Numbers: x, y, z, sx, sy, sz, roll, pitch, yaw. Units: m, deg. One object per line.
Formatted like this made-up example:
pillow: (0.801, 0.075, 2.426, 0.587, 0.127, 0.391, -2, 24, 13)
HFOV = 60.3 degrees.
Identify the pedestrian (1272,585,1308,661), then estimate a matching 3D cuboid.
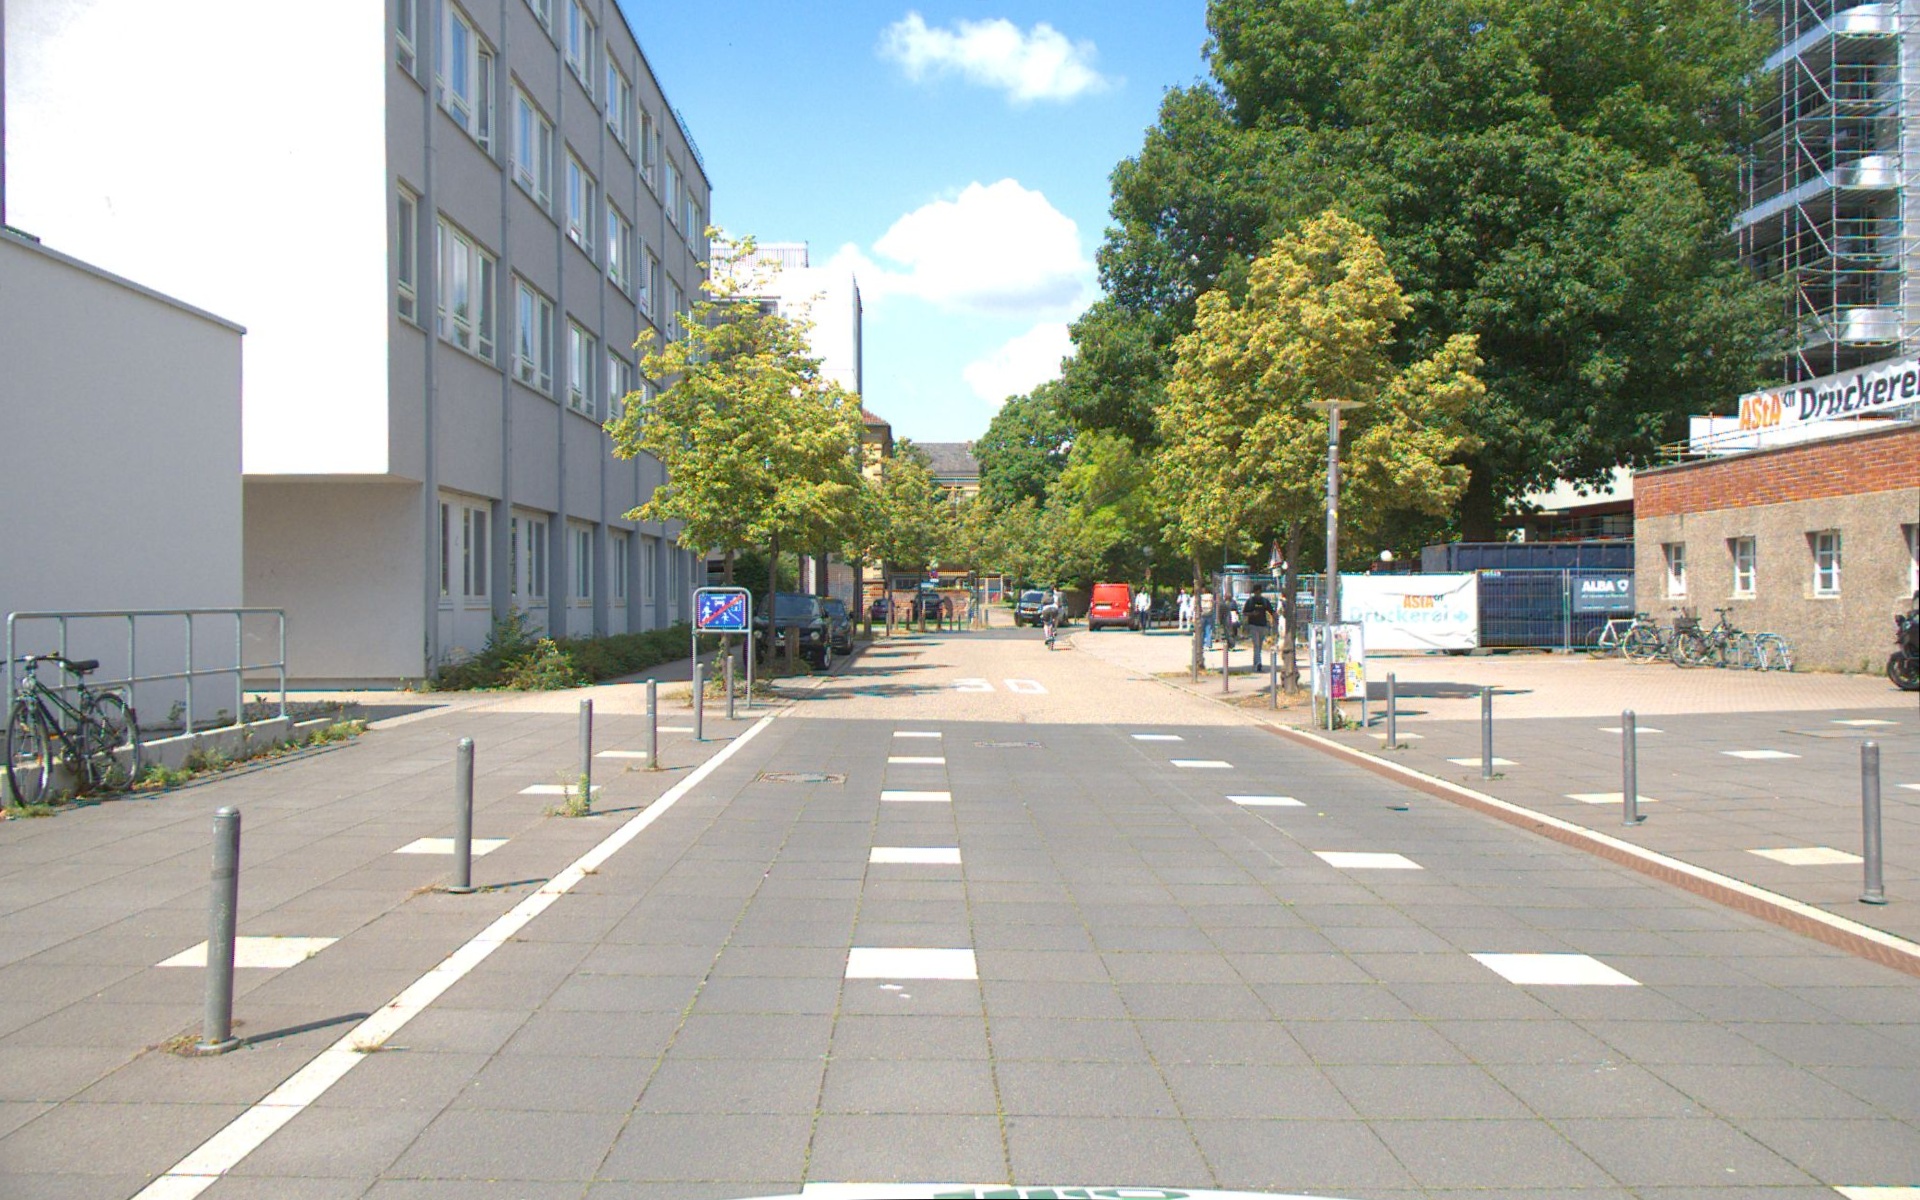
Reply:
pedestrian: (7.511, 0.523, 37.659, 0.636, 1.695, 0.904, -1, 0, 0)

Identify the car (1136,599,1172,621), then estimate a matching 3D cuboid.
car: (13.756, 0.694, 116.998, 1.723, 1.548, 4.113, 0, 0, 19)

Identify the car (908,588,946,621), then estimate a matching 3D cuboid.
car: (-2.037, 0.288, 100.017, 2.131, 1.959, 5.182, 0, 0, -3)

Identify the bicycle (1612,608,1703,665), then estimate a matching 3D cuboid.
bicycle: (14.217, 0.737, 33.739, 1.667, 1.129, 0.448, 0, 0, -1)

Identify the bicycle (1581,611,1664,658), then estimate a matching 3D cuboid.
bicycle: (14.450, 0.748, 36.100, 1.637, 1.021, 0.448, 0, 0, -1)

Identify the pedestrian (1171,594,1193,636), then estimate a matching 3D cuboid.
pedestrian: (9.760, 0.656, 72.616, 0.716, 1.853, 0.621, 0, -1, -37)

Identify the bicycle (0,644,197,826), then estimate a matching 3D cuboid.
bicycle: (-5.972, 0.871, 11.305, 0.532, 1.080, 1.900, 0, 0, 3)

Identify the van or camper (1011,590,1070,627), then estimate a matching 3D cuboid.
van or camper: (4.516, 0.452, 91.863, 1.913, 1.957, 5.422, 1, 0, 18)

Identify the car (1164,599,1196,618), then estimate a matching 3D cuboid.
car: (16.508, 0.616, 124.126, 1.582, 1.412, 4.001, 0, 0, 19)

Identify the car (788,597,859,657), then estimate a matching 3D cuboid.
car: (-3.599, 0.685, 44.109, 1.742, 1.486, 4.256, 1, 0, -3)

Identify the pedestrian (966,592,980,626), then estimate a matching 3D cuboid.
pedestrian: (0.708, 0.486, 87.510, 0.571, 1.795, 0.912, 0, 0, 11)

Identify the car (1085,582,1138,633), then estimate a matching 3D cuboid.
car: (6.013, 0.275, 65.270, 1.809, 1.924, 4.894, -1, 0, 8)

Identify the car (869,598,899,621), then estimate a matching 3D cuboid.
car: (-4.564, 0.581, 99.908, 1.781, 1.347, 3.766, 0, 0, -2)

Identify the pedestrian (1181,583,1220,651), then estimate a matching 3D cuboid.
pedestrian: (6.442, 0.463, 44.371, 0.834, 1.795, 0.714, -1, 0, -9)

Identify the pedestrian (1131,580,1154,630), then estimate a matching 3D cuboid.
pedestrian: (6.630, 0.186, 60.125, 0.680, 1.812, 0.787, -1, 0, 15)

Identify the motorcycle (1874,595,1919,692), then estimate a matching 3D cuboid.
motorcycle: (13.625, 0.597, 22.943, 0.681, 1.346, 2.220, 0, 0, 1)

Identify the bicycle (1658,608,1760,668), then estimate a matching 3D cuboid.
bicycle: (14.341, 0.732, 31.684, 1.769, 1.129, 0.448, 0, 0, -1)

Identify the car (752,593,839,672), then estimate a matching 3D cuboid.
car: (-3.481, 0.648, 35.528, 1.663, 1.591, 4.065, 0, 0, -3)

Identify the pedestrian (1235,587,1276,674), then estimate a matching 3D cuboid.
pedestrian: (5.973, 0.608, 33.449, 0.629, 1.726, 0.791, 0, 0, -7)

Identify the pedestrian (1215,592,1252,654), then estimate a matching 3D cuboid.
pedestrian: (7.302, 0.601, 44.211, 0.656, 1.628, 0.983, -1, 0, -10)
